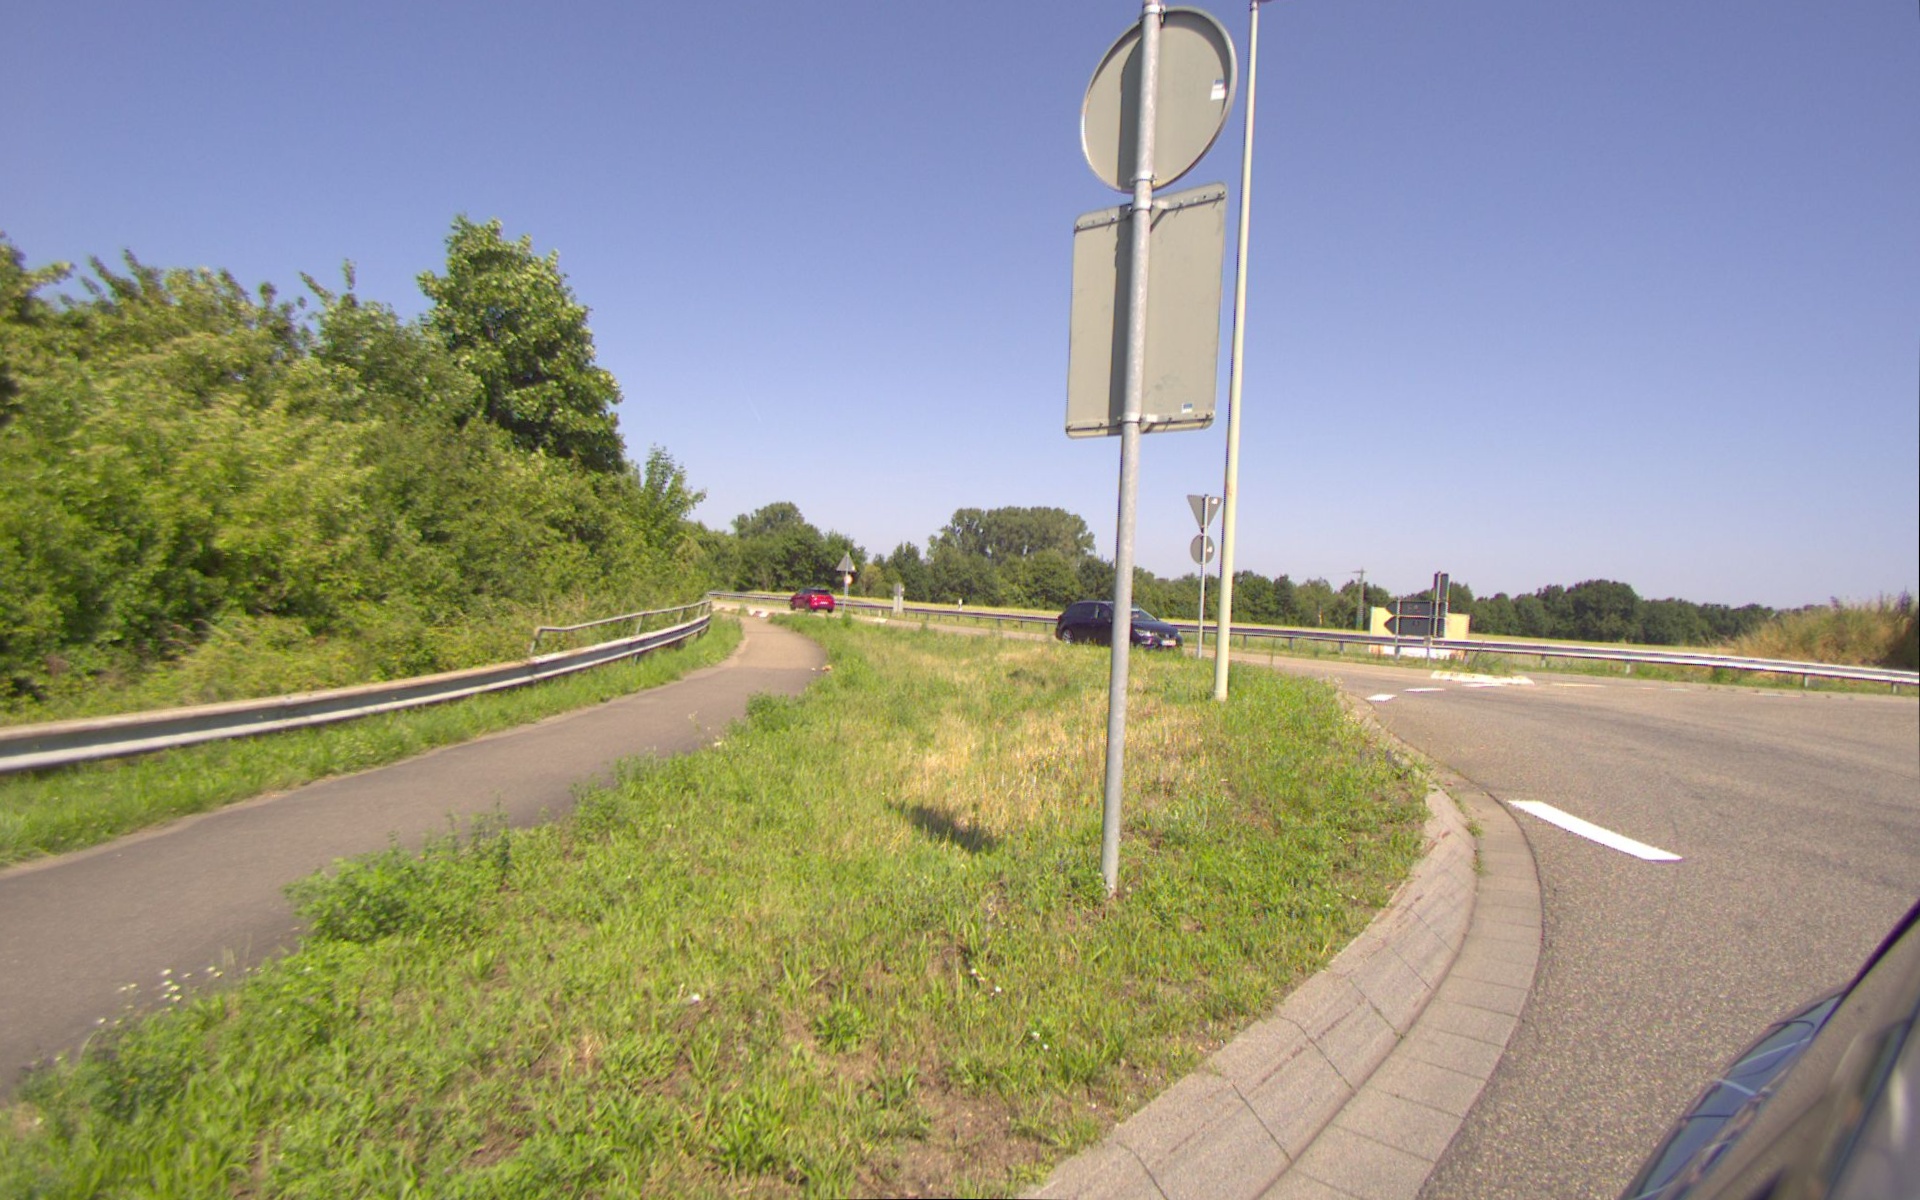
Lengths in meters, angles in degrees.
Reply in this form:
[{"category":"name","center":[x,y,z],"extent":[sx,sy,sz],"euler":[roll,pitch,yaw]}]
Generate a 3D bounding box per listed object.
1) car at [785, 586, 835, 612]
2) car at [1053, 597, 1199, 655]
[{"category":"car","center":[-9.613,-0.071,64.694],"extent":[1.715,1.542,3.833],"euler":[4,-2,-32]},{"category":"car","center":[4.565,0.693,28.429],"extent":[1.772,1.415,4.185],"euler":[2,0,-30]}]
